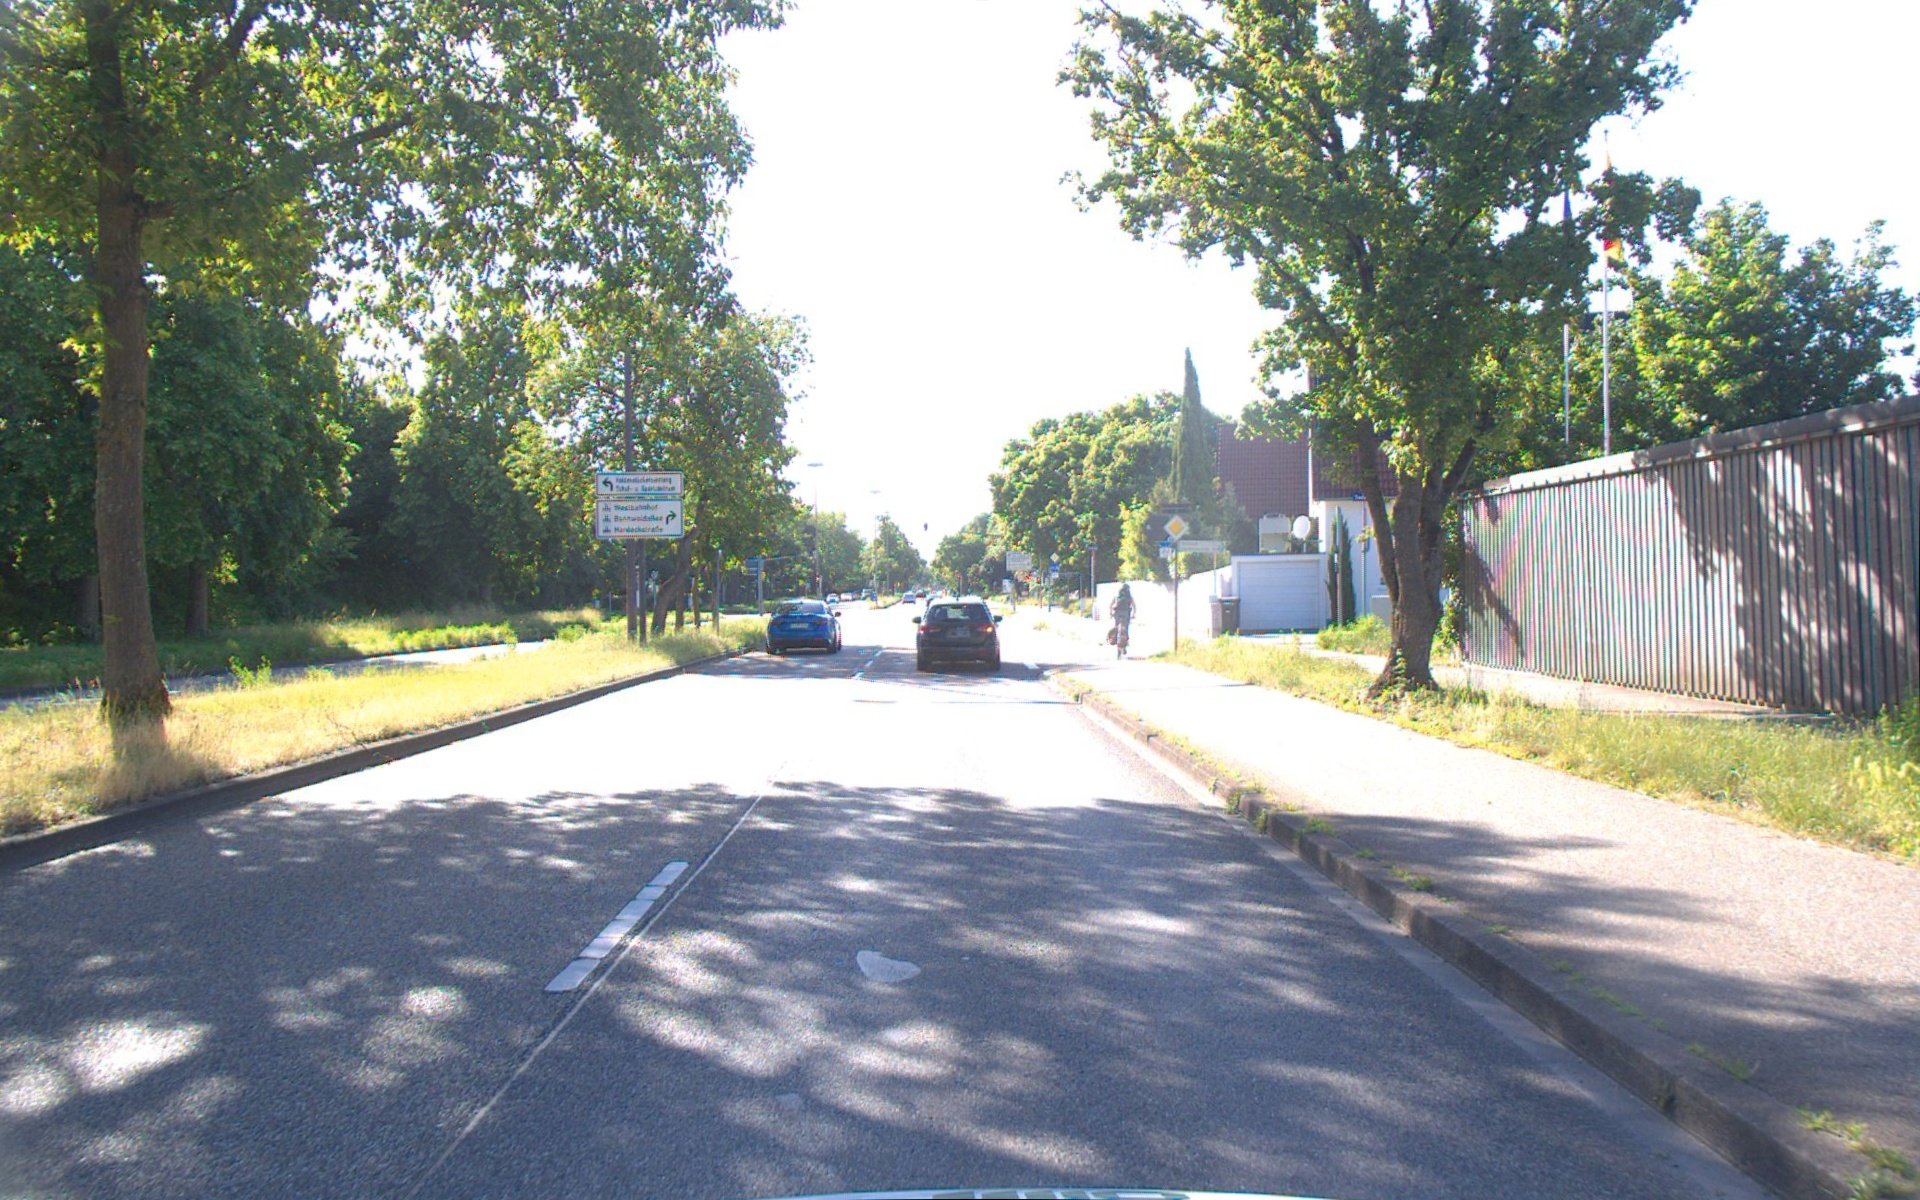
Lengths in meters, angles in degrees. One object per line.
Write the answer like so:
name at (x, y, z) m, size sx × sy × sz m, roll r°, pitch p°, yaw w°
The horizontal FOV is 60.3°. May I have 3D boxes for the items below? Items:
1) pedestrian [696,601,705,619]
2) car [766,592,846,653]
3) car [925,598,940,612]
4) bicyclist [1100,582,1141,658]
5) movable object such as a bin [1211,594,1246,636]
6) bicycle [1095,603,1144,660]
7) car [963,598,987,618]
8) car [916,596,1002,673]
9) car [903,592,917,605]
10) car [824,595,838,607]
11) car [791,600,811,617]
pedestrian at (-27.057, 1.025, 172.351) m, size 0.828 × 1.867 × 0.549 m, roll 0°, pitch 0°, yaw 1°
car at (-4.177, 0.611, 45.397) m, size 1.850 × 1.579 × 3.999 m, roll -1°, pitch -1°, yaw -1°
car at (-3.220, 0.631, 194.755) m, size 1.697 × 1.613 × 3.839 m, roll 1°, pitch -1°, yaw -2°
bicyclist at (3.662, 0.451, 37.676) m, size 0.617 × 1.661 × 0.982 m, roll -4°, pitch 0°, yaw 19°
movable object such as a bin at (8.365, 0.470, 51.505) m, size 0.980 × 1.226 × 1.063 m, roll -2°, pitch -1°, yaw 6°
bicycle at (3.653, 0.698, 37.705) m, size 0.562 × 1.175 × 2.142 m, roll -4°, pitch 1°, yaw 19°
car at (1.186, 0.586, 126.706) m, size 1.696 × 1.485 × 3.841 m, roll 0°, pitch 0°, yaw 2°
car at (-0.049, 0.713, 35.096) m, size 1.720 × 1.535 × 3.807 m, roll 0°, pitch -1°, yaw -1°
car at (-6.756, -0.266, 222.334) m, size 1.787 × 1.643 × 3.839 m, roll 2°, pitch 1°, yaw -1°
car at (-19.723, 0.130, 252.533) m, size 1.826 × 1.713 × 4.259 m, roll 0°, pitch 0°, yaw -1°
car at (-17.804, 0.958, 185.594) m, size 1.873 × 1.733 × 4.407 m, roll 1°, pitch -1°, yaw 0°
